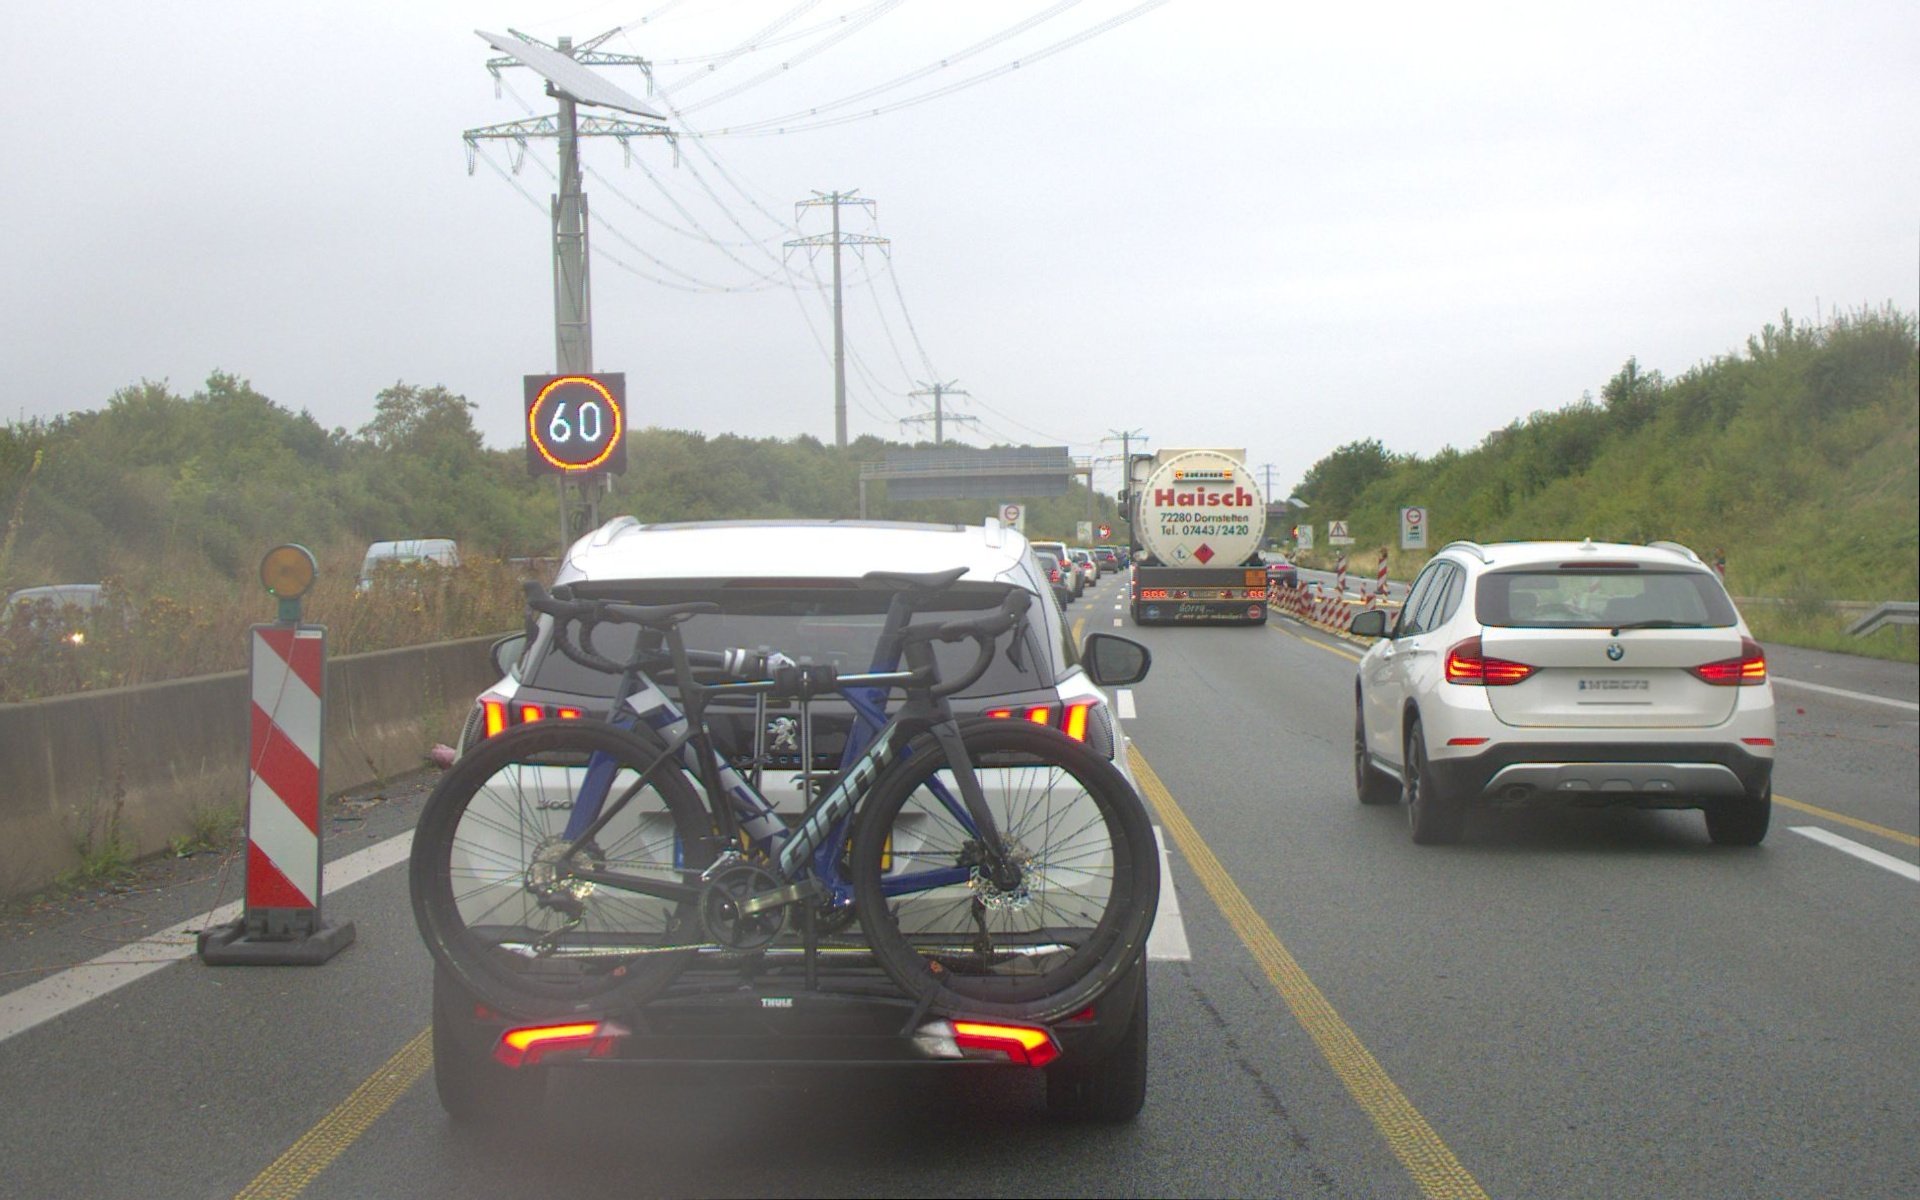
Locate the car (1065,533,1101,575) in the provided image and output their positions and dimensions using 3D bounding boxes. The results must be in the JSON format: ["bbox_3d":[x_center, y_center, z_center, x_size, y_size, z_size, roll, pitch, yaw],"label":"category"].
[{"bbox_3d":[5.926,-2.203,165.319,1.654,2.007,4.000,0,1,4],"label":"car"}]

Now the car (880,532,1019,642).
[{"bbox_3d":[-0.175,-0.221,51.503,1.993,1.578,4.000,0,1,-1],"label":"car"}]

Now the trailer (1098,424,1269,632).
[{"bbox_3d":[4.423,-1.384,70.013,2.637,3.880,10.544,1,0,-1],"label":"trailer"}]

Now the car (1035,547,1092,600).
[{"bbox_3d":[3.989,-1.017,132.874,1.993,2.007,4.000,1,0,-1],"label":"car"}]

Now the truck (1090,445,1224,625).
[{"bbox_3d":[4.348,-1.422,76.608,2.644,3.877,4.030,1,0,-1],"label":"truck"}]

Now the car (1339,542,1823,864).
[{"bbox_3d":[3.184,0.457,18.445,1.870,1.529,4.197,0,1,1],"label":"car"}]

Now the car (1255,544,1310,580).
[{"bbox_3d":[11.133,-1.319,118.894,1.482,1.157,3.907,-1,1,-1],"label":"car"}]

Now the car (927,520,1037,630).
[{"bbox_3d":[0.385,-0.503,65.901,1.993,2.007,4.000,-2,1,0],"label":"car"}]

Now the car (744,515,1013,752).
[{"bbox_3d":[-0.587,0.215,28.115,1.993,1.754,4.000,-1,1,1],"label":"car"}]

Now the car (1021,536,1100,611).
[{"bbox_3d":[2.738,-0.719,94.747,1.993,2.007,4.000,1,0,-1],"label":"car"}]

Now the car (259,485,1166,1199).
[{"bbox_3d":[-0.463,0.524,9.609,1.928,1.605,4.595,0,1,2],"label":"car"}]

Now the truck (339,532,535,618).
[{"bbox_3d":[-15.917,-0.782,105.031,1.997,2.419,6.421,0,2,35],"label":"truck"}]
